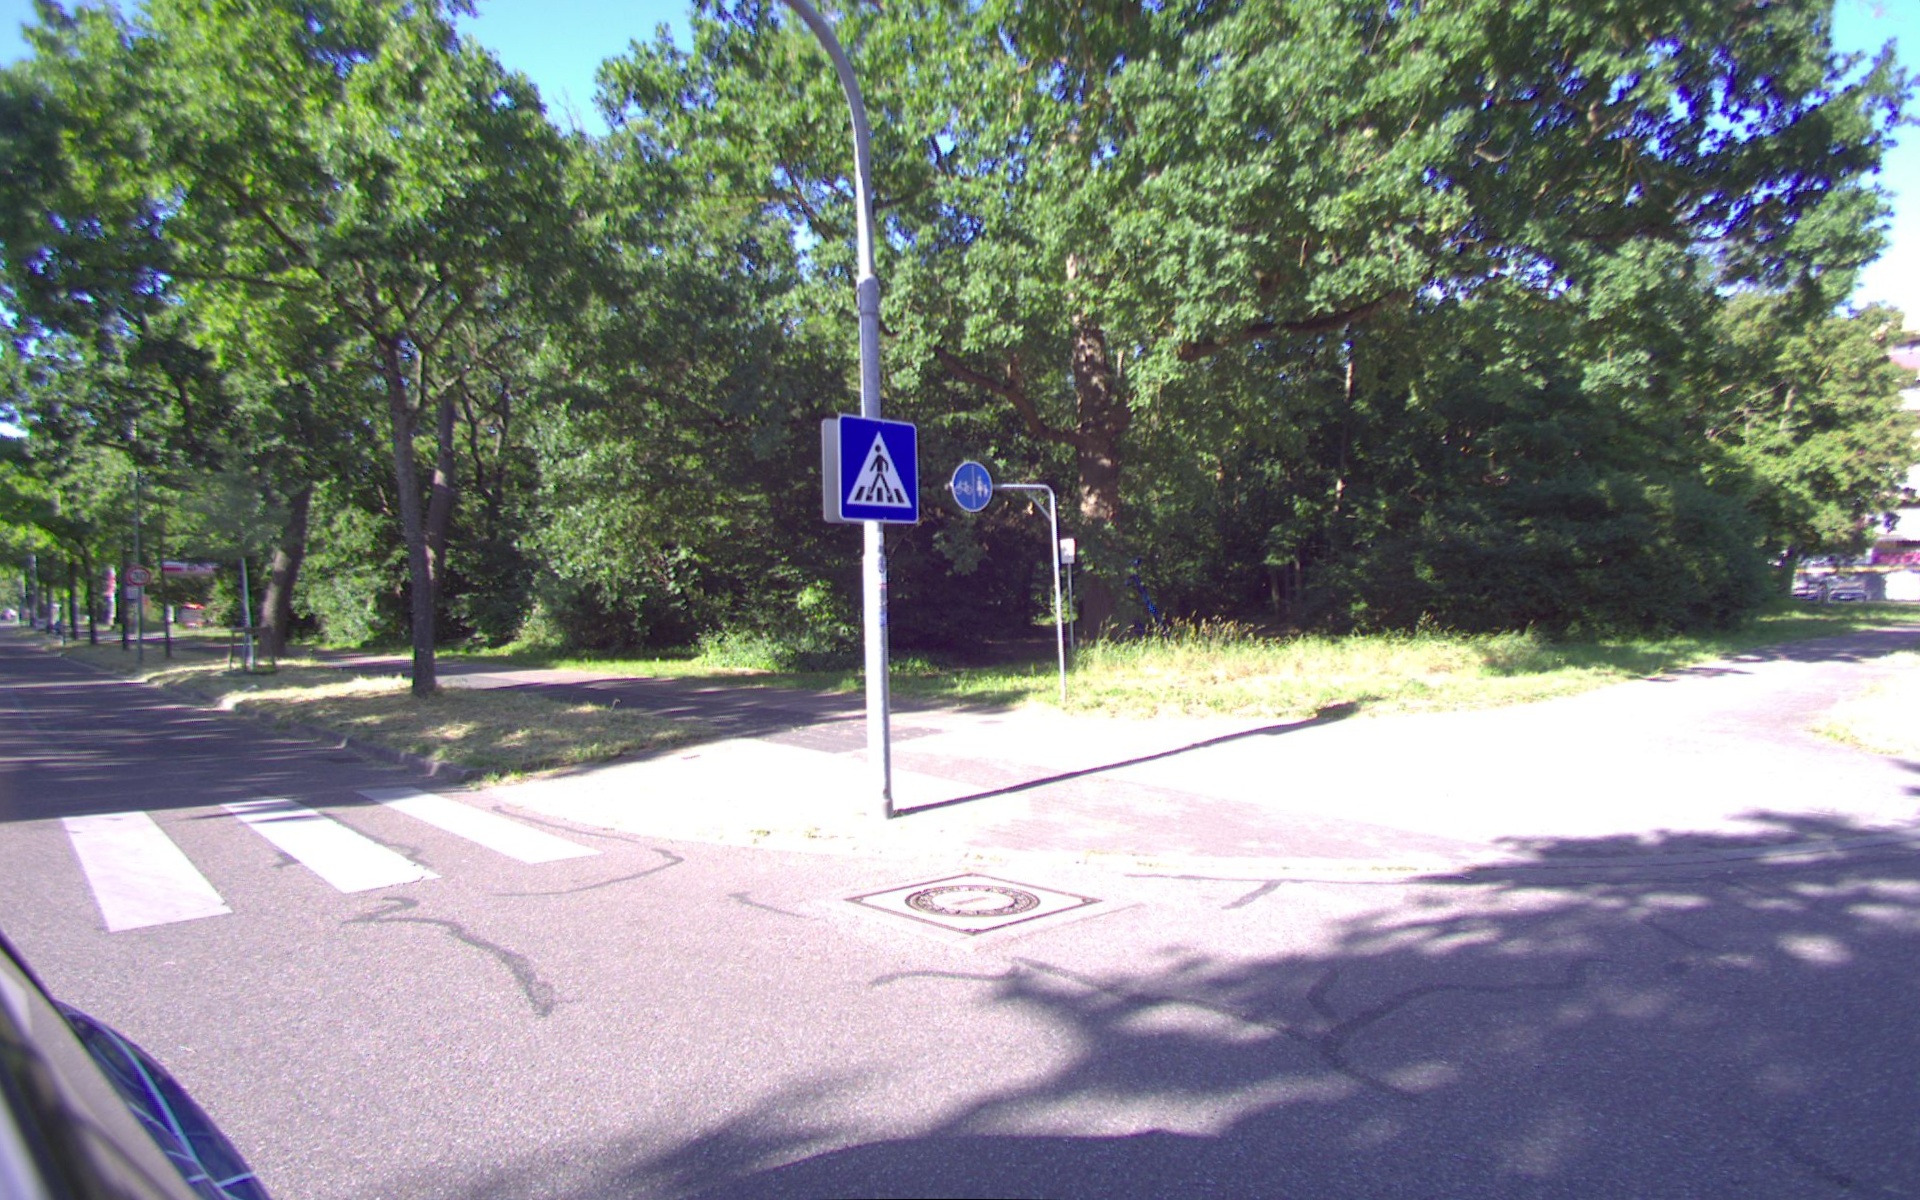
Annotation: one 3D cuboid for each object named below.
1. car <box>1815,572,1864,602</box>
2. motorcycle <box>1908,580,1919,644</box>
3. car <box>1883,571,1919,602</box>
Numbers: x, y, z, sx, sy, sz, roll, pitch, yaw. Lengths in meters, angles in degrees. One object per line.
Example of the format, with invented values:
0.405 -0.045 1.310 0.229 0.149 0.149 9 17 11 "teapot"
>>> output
54.230 -0.839 62.393 3.777 1.757 1.765 -1 0 -41 "car"
21.289 0.235 21.197 1.945 1.354 0.671 -2 0 19 "motorcycle"
55.989 -0.833 59.783 3.777 1.757 1.765 -1 0 -41 "car"
